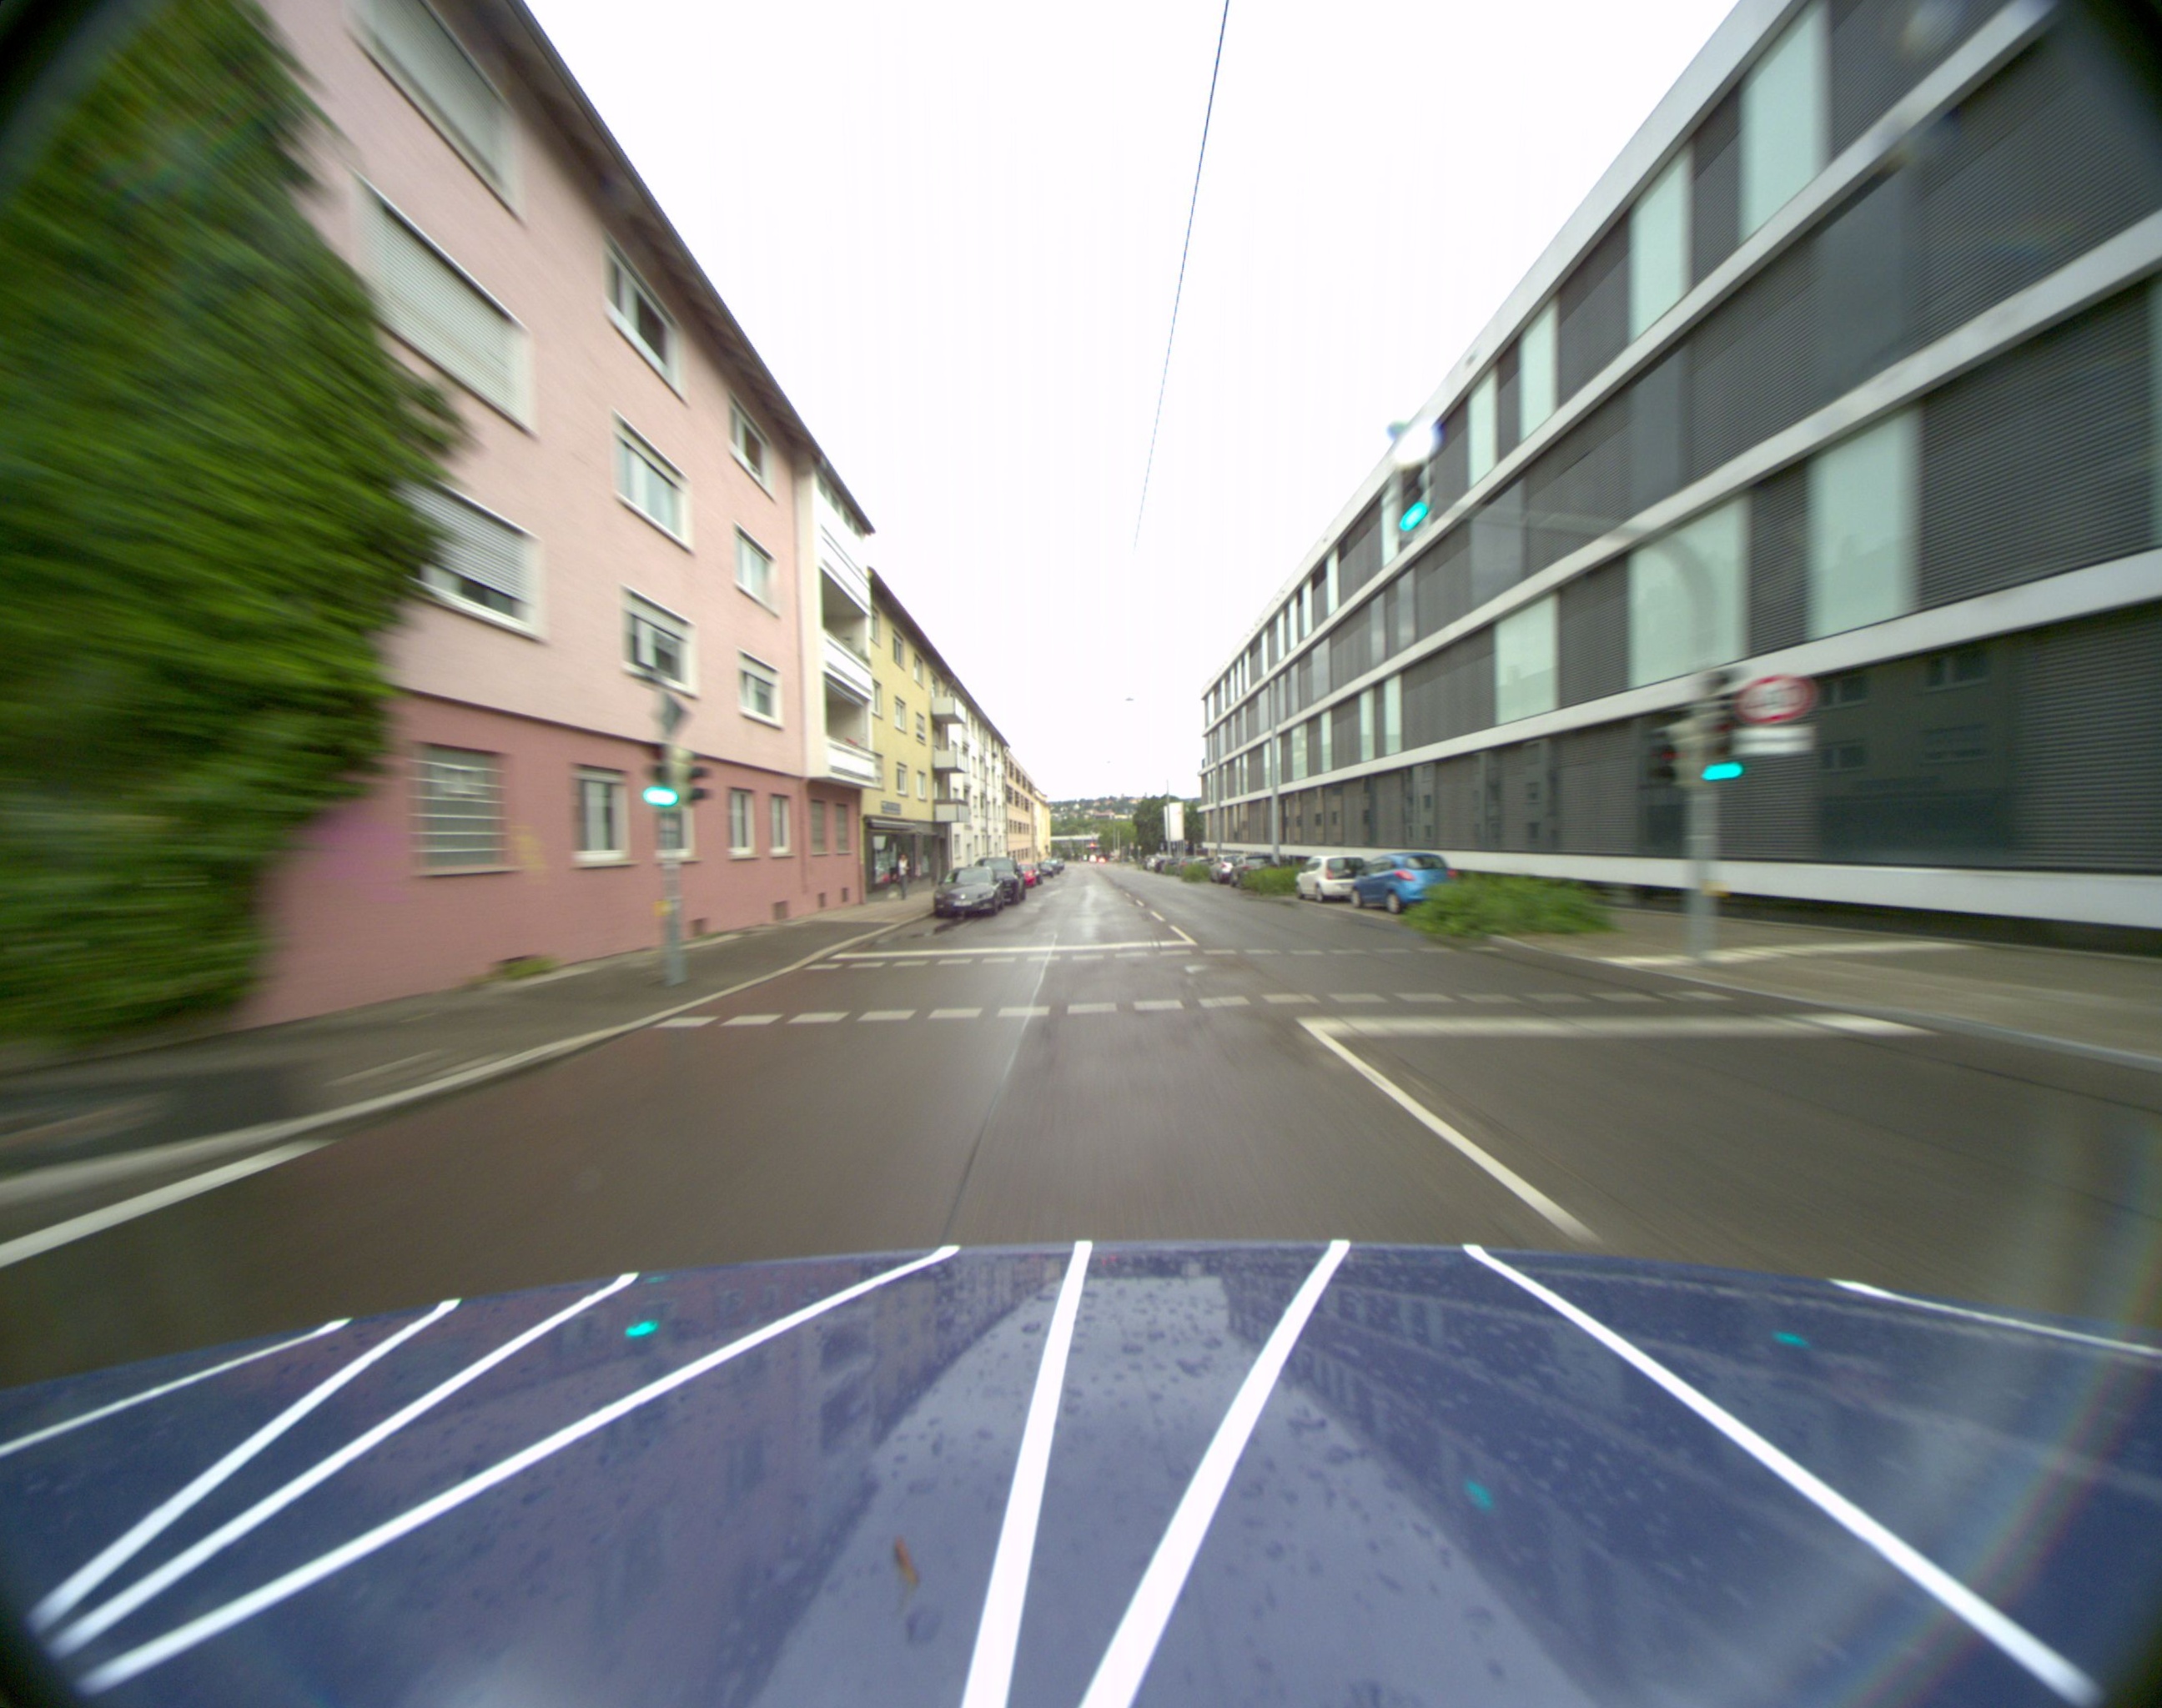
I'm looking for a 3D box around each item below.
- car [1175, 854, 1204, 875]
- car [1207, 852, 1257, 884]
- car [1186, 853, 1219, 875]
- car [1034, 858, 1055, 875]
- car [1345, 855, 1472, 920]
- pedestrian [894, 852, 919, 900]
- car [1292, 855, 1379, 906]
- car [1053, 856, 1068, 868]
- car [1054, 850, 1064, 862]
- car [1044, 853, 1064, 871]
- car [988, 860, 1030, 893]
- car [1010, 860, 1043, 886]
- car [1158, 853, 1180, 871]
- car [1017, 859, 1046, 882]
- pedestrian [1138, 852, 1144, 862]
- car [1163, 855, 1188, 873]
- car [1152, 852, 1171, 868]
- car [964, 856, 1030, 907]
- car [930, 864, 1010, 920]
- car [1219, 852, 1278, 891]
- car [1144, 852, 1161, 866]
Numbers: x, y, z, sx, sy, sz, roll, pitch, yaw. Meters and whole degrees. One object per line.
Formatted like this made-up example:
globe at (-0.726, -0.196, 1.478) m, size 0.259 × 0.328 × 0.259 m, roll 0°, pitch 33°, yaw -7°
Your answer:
car at (8.177, 0.736, 57.391) m, size 1.565 × 1.463 × 4.041 m, roll -2°, pitch 0°, yaw 1°
car at (8.152, 0.727, 41.454) m, size 1.835 × 1.580 × 4.363 m, roll -3°, pitch 0°, yaw 1°
car at (8.166, 0.628, 51.462) m, size 1.565 × 1.385 × 4.041 m, roll -2°, pitch 0°, yaw 1°
car at (-3.357, 1.103, 69.767) m, size 1.630 × 1.402 × 3.778 m, roll -2°, pitch 0°, yaw 1°
car at (8.307, 0.784, 19.624) m, size 1.641 × 1.458 × 3.583 m, roll -2°, pitch 0°, yaw -1°
pedestrian at (-6.553, 0.823, 28.517) m, size 0.715 × 1.763 × 0.748 m, roll 1°, pitch 0°, yaw 0°
car at (8.097, 0.802, 24.495) m, size 1.641 × 1.458 × 3.584 m, roll -1°, pitch 0°, yaw 1°
car at (-2.718, 1.043, 101.127) m, size 1.799 × 1.501 × 4.000 m, roll -2°, pitch 0°, yaw 1°
car at (-4.665, 0.481, 162.064) m, size 1.891 × 2.446 × 4.513 m, roll -3°, pitch 0°, yaw 1°
car at (-2.967, 0.890, 84.836) m, size 1.911 × 1.865 × 4.750 m, roll -2°, pitch 0°, yaw 1°
car at (-3.489, 1.066, 37.306) m, size 1.630 × 1.448 × 3.484 m, roll -2°, pitch 0°, yaw 0°
car at (-3.235, 1.109, 45.543) m, size 1.630 × 1.448 × 3.484 m, roll -2°, pitch 0°, yaw 0°
car at (8.387, 0.749, 72.579) m, size 1.642 × 1.576 × 4.041 m, roll -2°, pitch 0°, yaw 1°
car at (-3.256, 1.064, 50.496) m, size 1.630 × 1.402 × 3.778 m, roll -2°, pitch 0°, yaw 1°
pedestrian at (9.666, 0.533, 123.160) m, size 0.648 × 1.651 × 0.651 m, roll -1°, pitch 1°, yaw 44°
car at (8.217, 0.819, 66.332) m, size 1.642 × 1.463 × 4.041 m, roll -2°, pitch 0°, yaw 1°
car at (8.697, 0.646, 82.484) m, size 1.642 × 1.576 × 4.041 m, roll -2°, pitch 0°, yaw 1°
car at (-3.159, 0.972, 29.350) m, size 1.968 × 1.764 × 4.512 m, roll -2°, pitch 0°, yaw 0°
car at (-3.352, 1.112, 23.833) m, size 1.797 × 1.511 × 4.512 m, roll -2°, pitch 0°, yaw 0°
car at (7.710, 0.757, 35.346) m, size 1.887 × 1.580 × 4.363 m, roll -3°, pitch 0°, yaw 2°
car at (8.337, 0.591, 89.097) m, size 1.642 × 1.576 × 4.041 m, roll -2°, pitch 0°, yaw 1°
